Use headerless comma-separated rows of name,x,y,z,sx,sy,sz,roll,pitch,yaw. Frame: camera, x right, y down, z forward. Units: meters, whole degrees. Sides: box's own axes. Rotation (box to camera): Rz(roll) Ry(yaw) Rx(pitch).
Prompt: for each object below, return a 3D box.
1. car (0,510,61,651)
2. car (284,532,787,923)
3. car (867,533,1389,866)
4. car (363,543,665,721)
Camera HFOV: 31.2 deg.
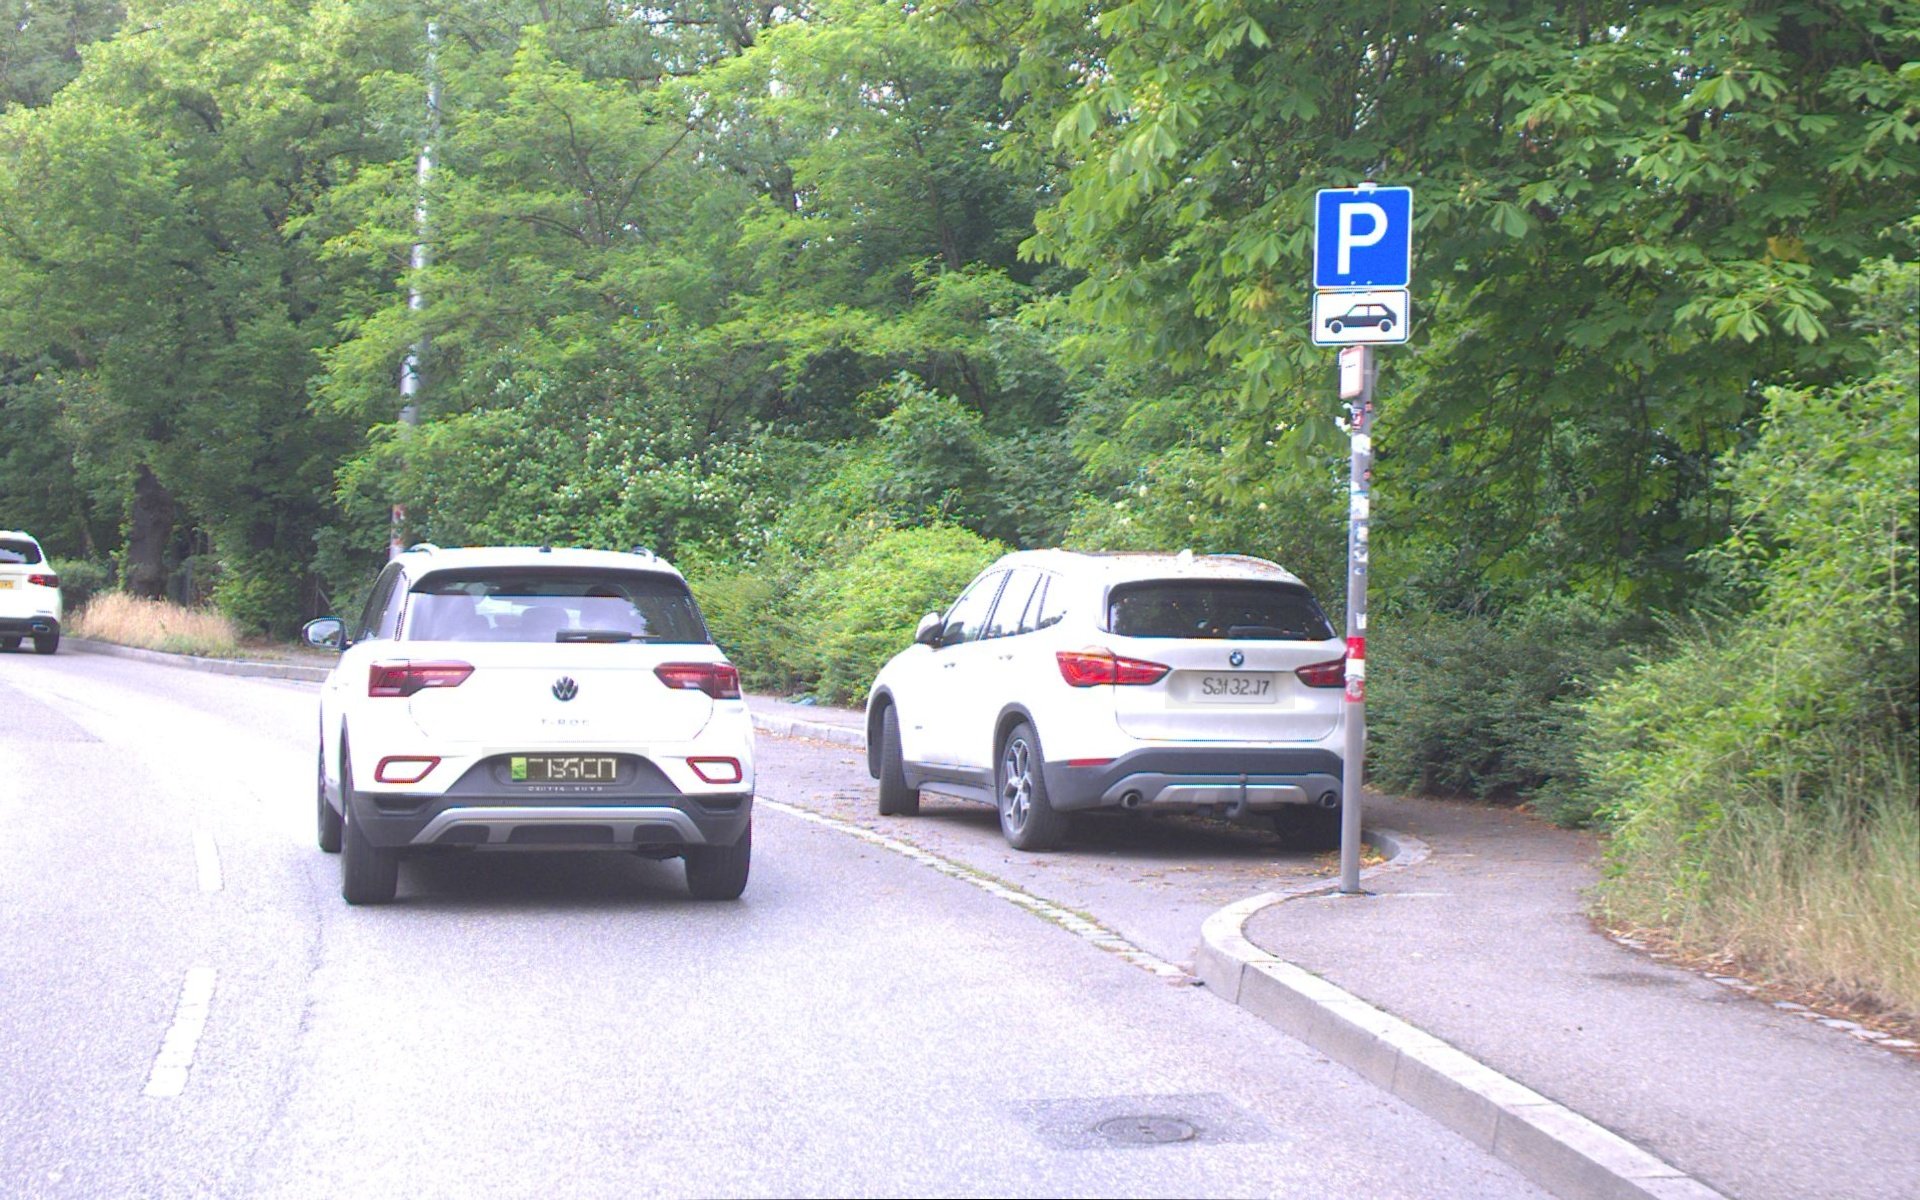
car,-13.584,-0.298,46.913,1.851,1.696,4.002,0,4,-25
car,-2.124,0.490,16.162,2.000,1.590,4.001,0,1,-12
car,0.797,0.461,19.333,1.758,1.646,4.382,0,1,-13
car,-4.578,0.274,34.641,1.732,1.477,4.703,3,1,-23
